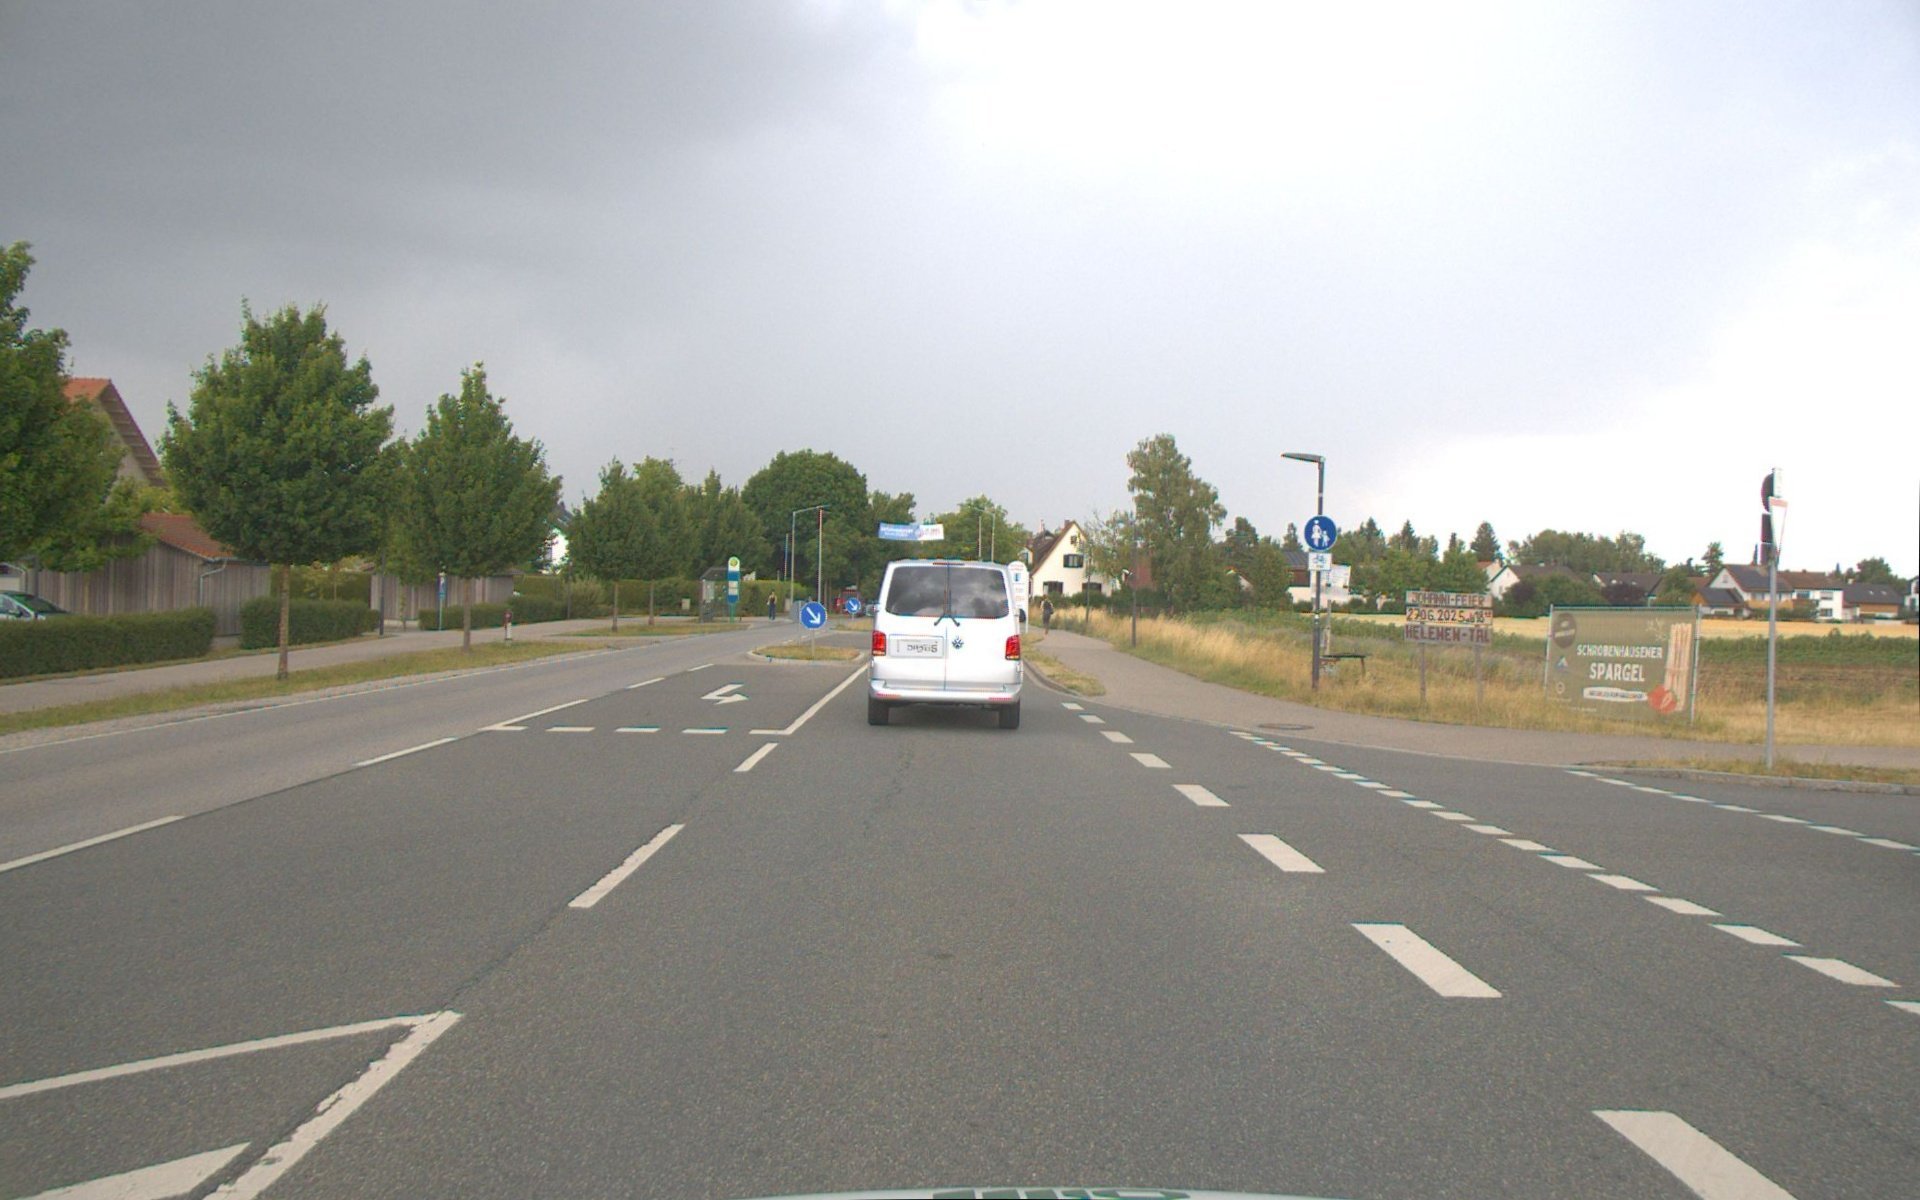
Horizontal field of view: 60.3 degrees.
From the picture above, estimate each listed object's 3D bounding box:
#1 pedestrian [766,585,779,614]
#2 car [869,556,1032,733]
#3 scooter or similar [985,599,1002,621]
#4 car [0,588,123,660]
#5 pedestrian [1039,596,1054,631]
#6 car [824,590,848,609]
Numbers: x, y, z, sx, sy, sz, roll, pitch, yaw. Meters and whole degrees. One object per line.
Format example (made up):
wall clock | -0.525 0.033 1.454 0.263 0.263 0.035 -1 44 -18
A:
pedestrian | -10.118 -0.025 89.413 0.611 1.551 0.679 0 0 -1
car | -0.186 0.495 20.853 1.789 1.947 3.998 2 0 -2
scooter or similar | 1.685 0.503 84.041 0.831 1.123 1.094 0 0 -1
car | -23.040 0.561 40.617 3.905 1.583 2.000 3 0 0
pedestrian | 3.875 0.590 73.941 0.611 1.551 0.679 0 0 -1
car | -9.371 -0.050 125.235 1.620 1.454 3.601 0 0 -1
